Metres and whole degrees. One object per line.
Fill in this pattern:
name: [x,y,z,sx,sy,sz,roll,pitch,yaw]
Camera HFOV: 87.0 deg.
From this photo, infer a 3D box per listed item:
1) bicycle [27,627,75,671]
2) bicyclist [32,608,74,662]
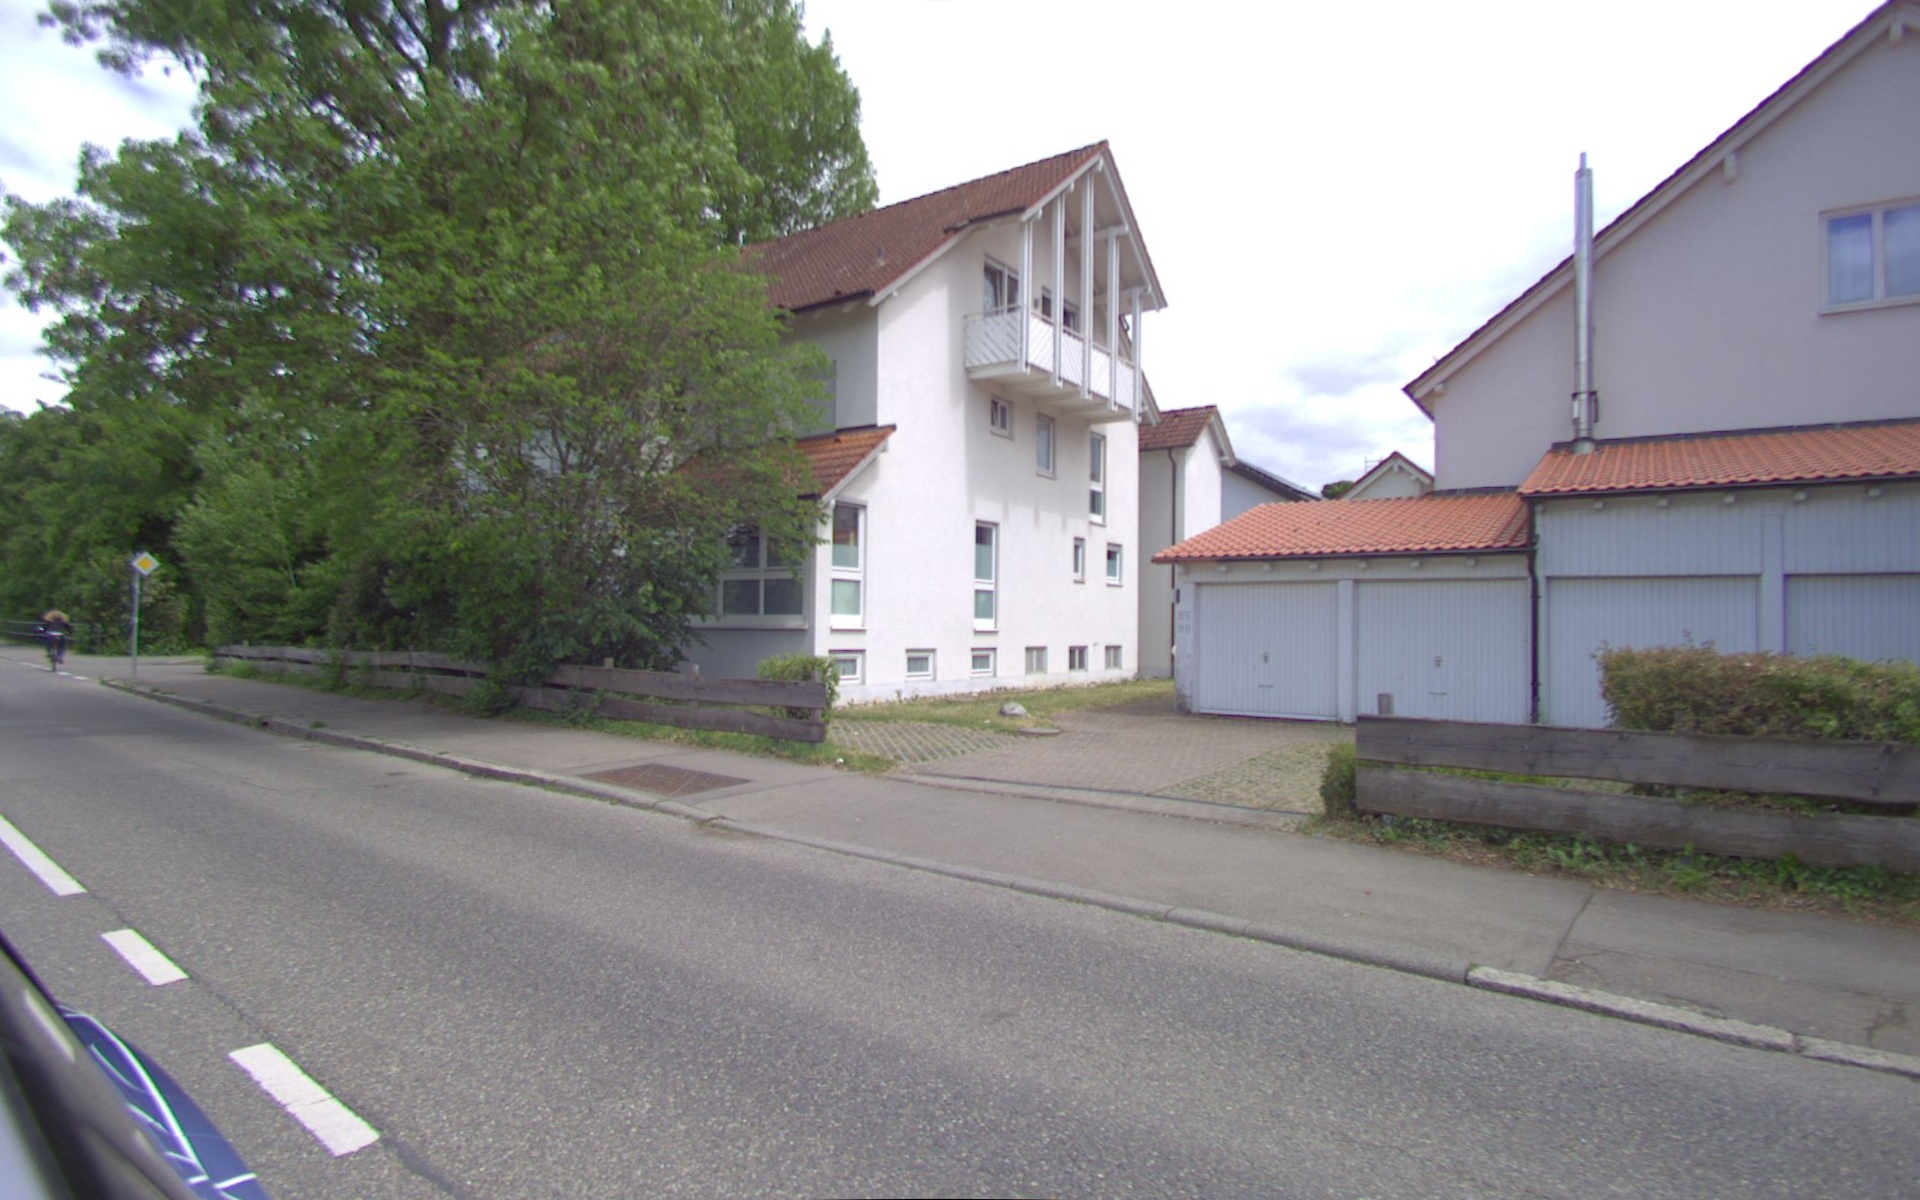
bicycle: [-26.767,1.425,29.791,2.307,1.236,0.747,-1,-4,41]
bicyclist: [-26.674,1.025,29.766,0.869,1.561,0.770,-1,-3,41]
